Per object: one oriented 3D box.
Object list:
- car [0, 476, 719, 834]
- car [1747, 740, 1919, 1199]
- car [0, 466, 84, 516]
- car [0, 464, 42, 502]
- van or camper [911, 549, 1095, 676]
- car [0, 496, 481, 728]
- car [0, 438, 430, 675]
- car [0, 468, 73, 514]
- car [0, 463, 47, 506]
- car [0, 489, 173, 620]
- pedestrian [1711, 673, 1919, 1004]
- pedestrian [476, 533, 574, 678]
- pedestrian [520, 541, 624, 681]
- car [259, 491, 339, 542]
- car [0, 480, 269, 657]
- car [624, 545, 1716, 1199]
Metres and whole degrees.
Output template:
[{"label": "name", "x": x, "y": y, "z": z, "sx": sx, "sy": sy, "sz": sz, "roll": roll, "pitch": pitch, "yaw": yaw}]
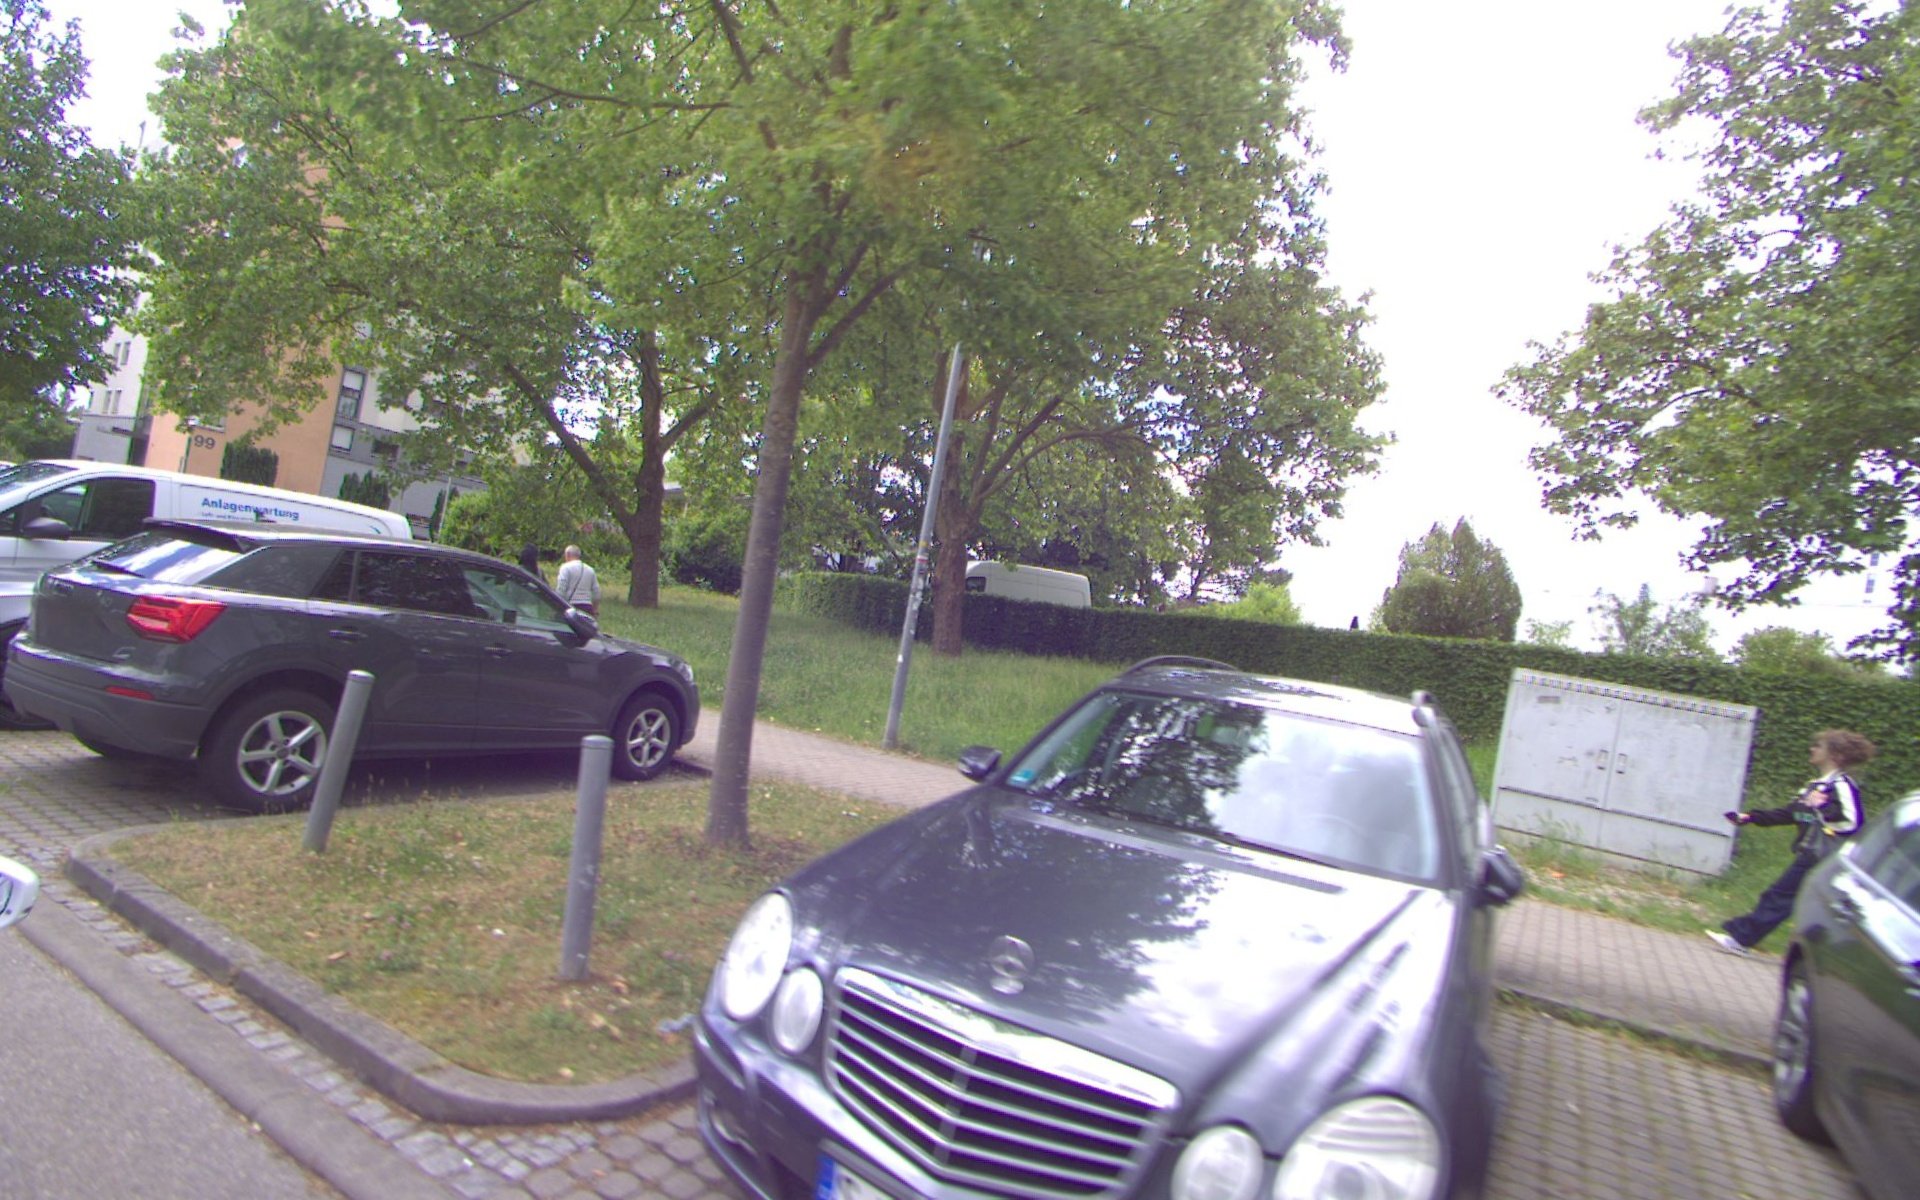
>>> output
[{"label": "car", "x": -3.693, "y": 0.322, "z": 6.658, "sx": 1.879, "sy": 1.538, "sz": 3.832, "roll": 7, "pitch": 0, "yaw": 28}, {"label": "car", "x": 3.175, "y": 1.208, "z": 2.014, "sx": 1.852, "sy": 1.535, "sz": 3.997, "roll": 7, "pitch": -3, "yaw": 31}, {"label": "car", "x": -39.530, "y": -4.709, "z": 42.108, "sx": 1.732, "sy": 1.534, "sz": 4.039, "roll": 8, "pitch": -3, "yaw": 42}, {"label": "car", "x": -46.881, "y": -5.894, "z": 48.277, "sx": 1.733, "sy": 1.534, "sz": 3.977, "roll": 8, "pitch": -3, "yaw": 44}, {"label": "van or camper", "x": 1.225, "y": 0.367, "z": 28.486, "sx": 4.430, "sy": 2.829, "sz": 2.102, "roll": 10, "pitch": -2, "yaw": -26}, {"label": "car", "x": -6.002, "y": 0.081, "z": 7.630, "sx": 1.811, "sy": 1.388, "sz": 3.832, "roll": 7, "pitch": 0, "yaw": 29}, {"label": "car", "x": -7.934, "y": -0.376, "z": 9.521, "sx": 1.812, "sy": 1.854, "sz": 4.781, "roll": 8, "pitch": 0, "yaw": 31}, {"label": "car", "x": -41.133, "y": -4.882, "z": 43.540, "sx": 1.669, "sy": 1.475, "sz": 3.825, "roll": 8, "pitch": -3, "yaw": 42}, {"label": "car", "x": -43.612, "y": -5.447, "z": 44.675, "sx": 1.666, "sy": 1.611, "sz": 4.126, "roll": 8, "pitch": -2, "yaw": 35}, {"label": "car", "x": -12.443, "y": -0.699, "z": 12.648, "sx": 1.707, "sy": 1.478, "sz": 3.524, "roll": 7, "pitch": -2, "yaw": 24}, {"label": "pedestrian", "x": 5.497, "y": 1.454, "z": 6.425, "sx": 0.864, "sy": 1.813, "sz": 0.741, "roll": 8, "pitch": -1, "yaw": 33}, {"label": "pedestrian", "x": -5.423, "y": 0.077, "z": 12.555, "sx": 0.590, "sy": 1.675, "sz": 0.690, "roll": 8, "pitch": -1, "yaw": 31}, {"label": "pedestrian", "x": -5.079, "y": 0.159, "z": 13.186, "sx": 0.583, "sy": 1.675, "sz": 0.871, "roll": 8, "pitch": -1, "yaw": 31}, {"label": "car", "x": -27.184, "y": -3.432, "z": 41.331, "sx": 3.722, "sy": 1.679, "sz": 1.567, "roll": 8, "pitch": 0, "yaw": 39}, {"label": "car", "x": -10.303, "y": -0.458, "z": 10.914, "sx": 1.710, "sy": 1.620, "sz": 4.161, "roll": 8, "pitch": -2, "yaw": 31}, {"label": "car", "x": 1.195, "y": 0.929, "z": 3.929, "sx": 1.918, "sy": 1.509, "sz": 4.587, "roll": 7, "pitch": -2, "yaw": 28}]
